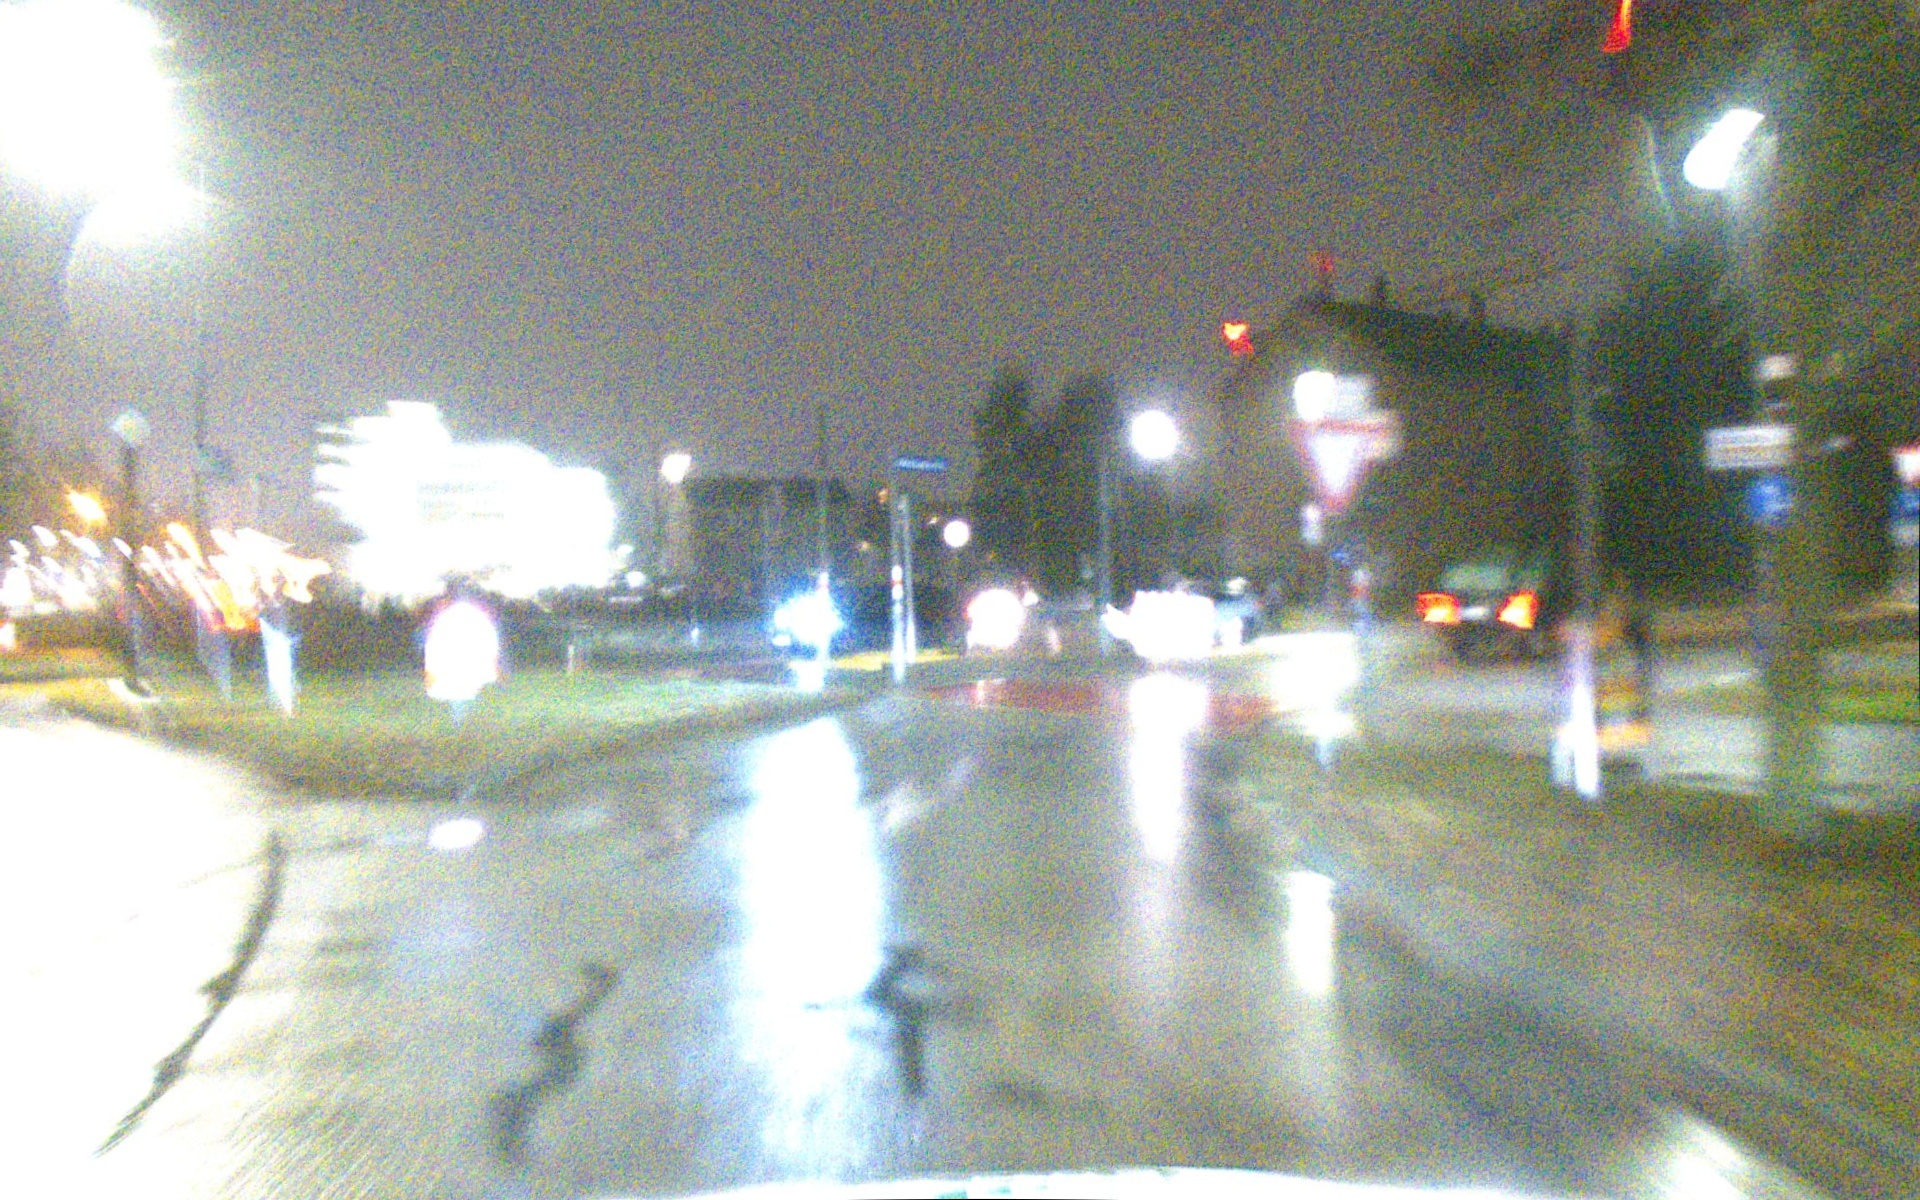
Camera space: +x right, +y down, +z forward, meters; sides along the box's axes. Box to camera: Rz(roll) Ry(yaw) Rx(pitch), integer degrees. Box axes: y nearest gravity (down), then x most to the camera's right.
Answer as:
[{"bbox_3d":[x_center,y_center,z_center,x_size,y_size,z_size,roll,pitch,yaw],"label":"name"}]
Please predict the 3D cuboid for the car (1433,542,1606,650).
[{"bbox_3d":[11.450,-0.156,33.690,1.962,2.048,4.537,1,2,38],"label":"car"}]

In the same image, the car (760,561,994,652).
[{"bbox_3d":[-1.732,0.083,34.780,4.553,1.766,1.982,-1,2,-29],"label":"car"}]

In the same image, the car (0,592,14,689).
[{"bbox_3d":[-18.513,0.736,28.063,3.804,1.668,1.861,-1,2,-7],"label":"car"}]

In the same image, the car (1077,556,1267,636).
[{"bbox_3d":[5.089,-0.134,39.533,4.336,1.788,1.858,-1,2,-32],"label":"car"}]
